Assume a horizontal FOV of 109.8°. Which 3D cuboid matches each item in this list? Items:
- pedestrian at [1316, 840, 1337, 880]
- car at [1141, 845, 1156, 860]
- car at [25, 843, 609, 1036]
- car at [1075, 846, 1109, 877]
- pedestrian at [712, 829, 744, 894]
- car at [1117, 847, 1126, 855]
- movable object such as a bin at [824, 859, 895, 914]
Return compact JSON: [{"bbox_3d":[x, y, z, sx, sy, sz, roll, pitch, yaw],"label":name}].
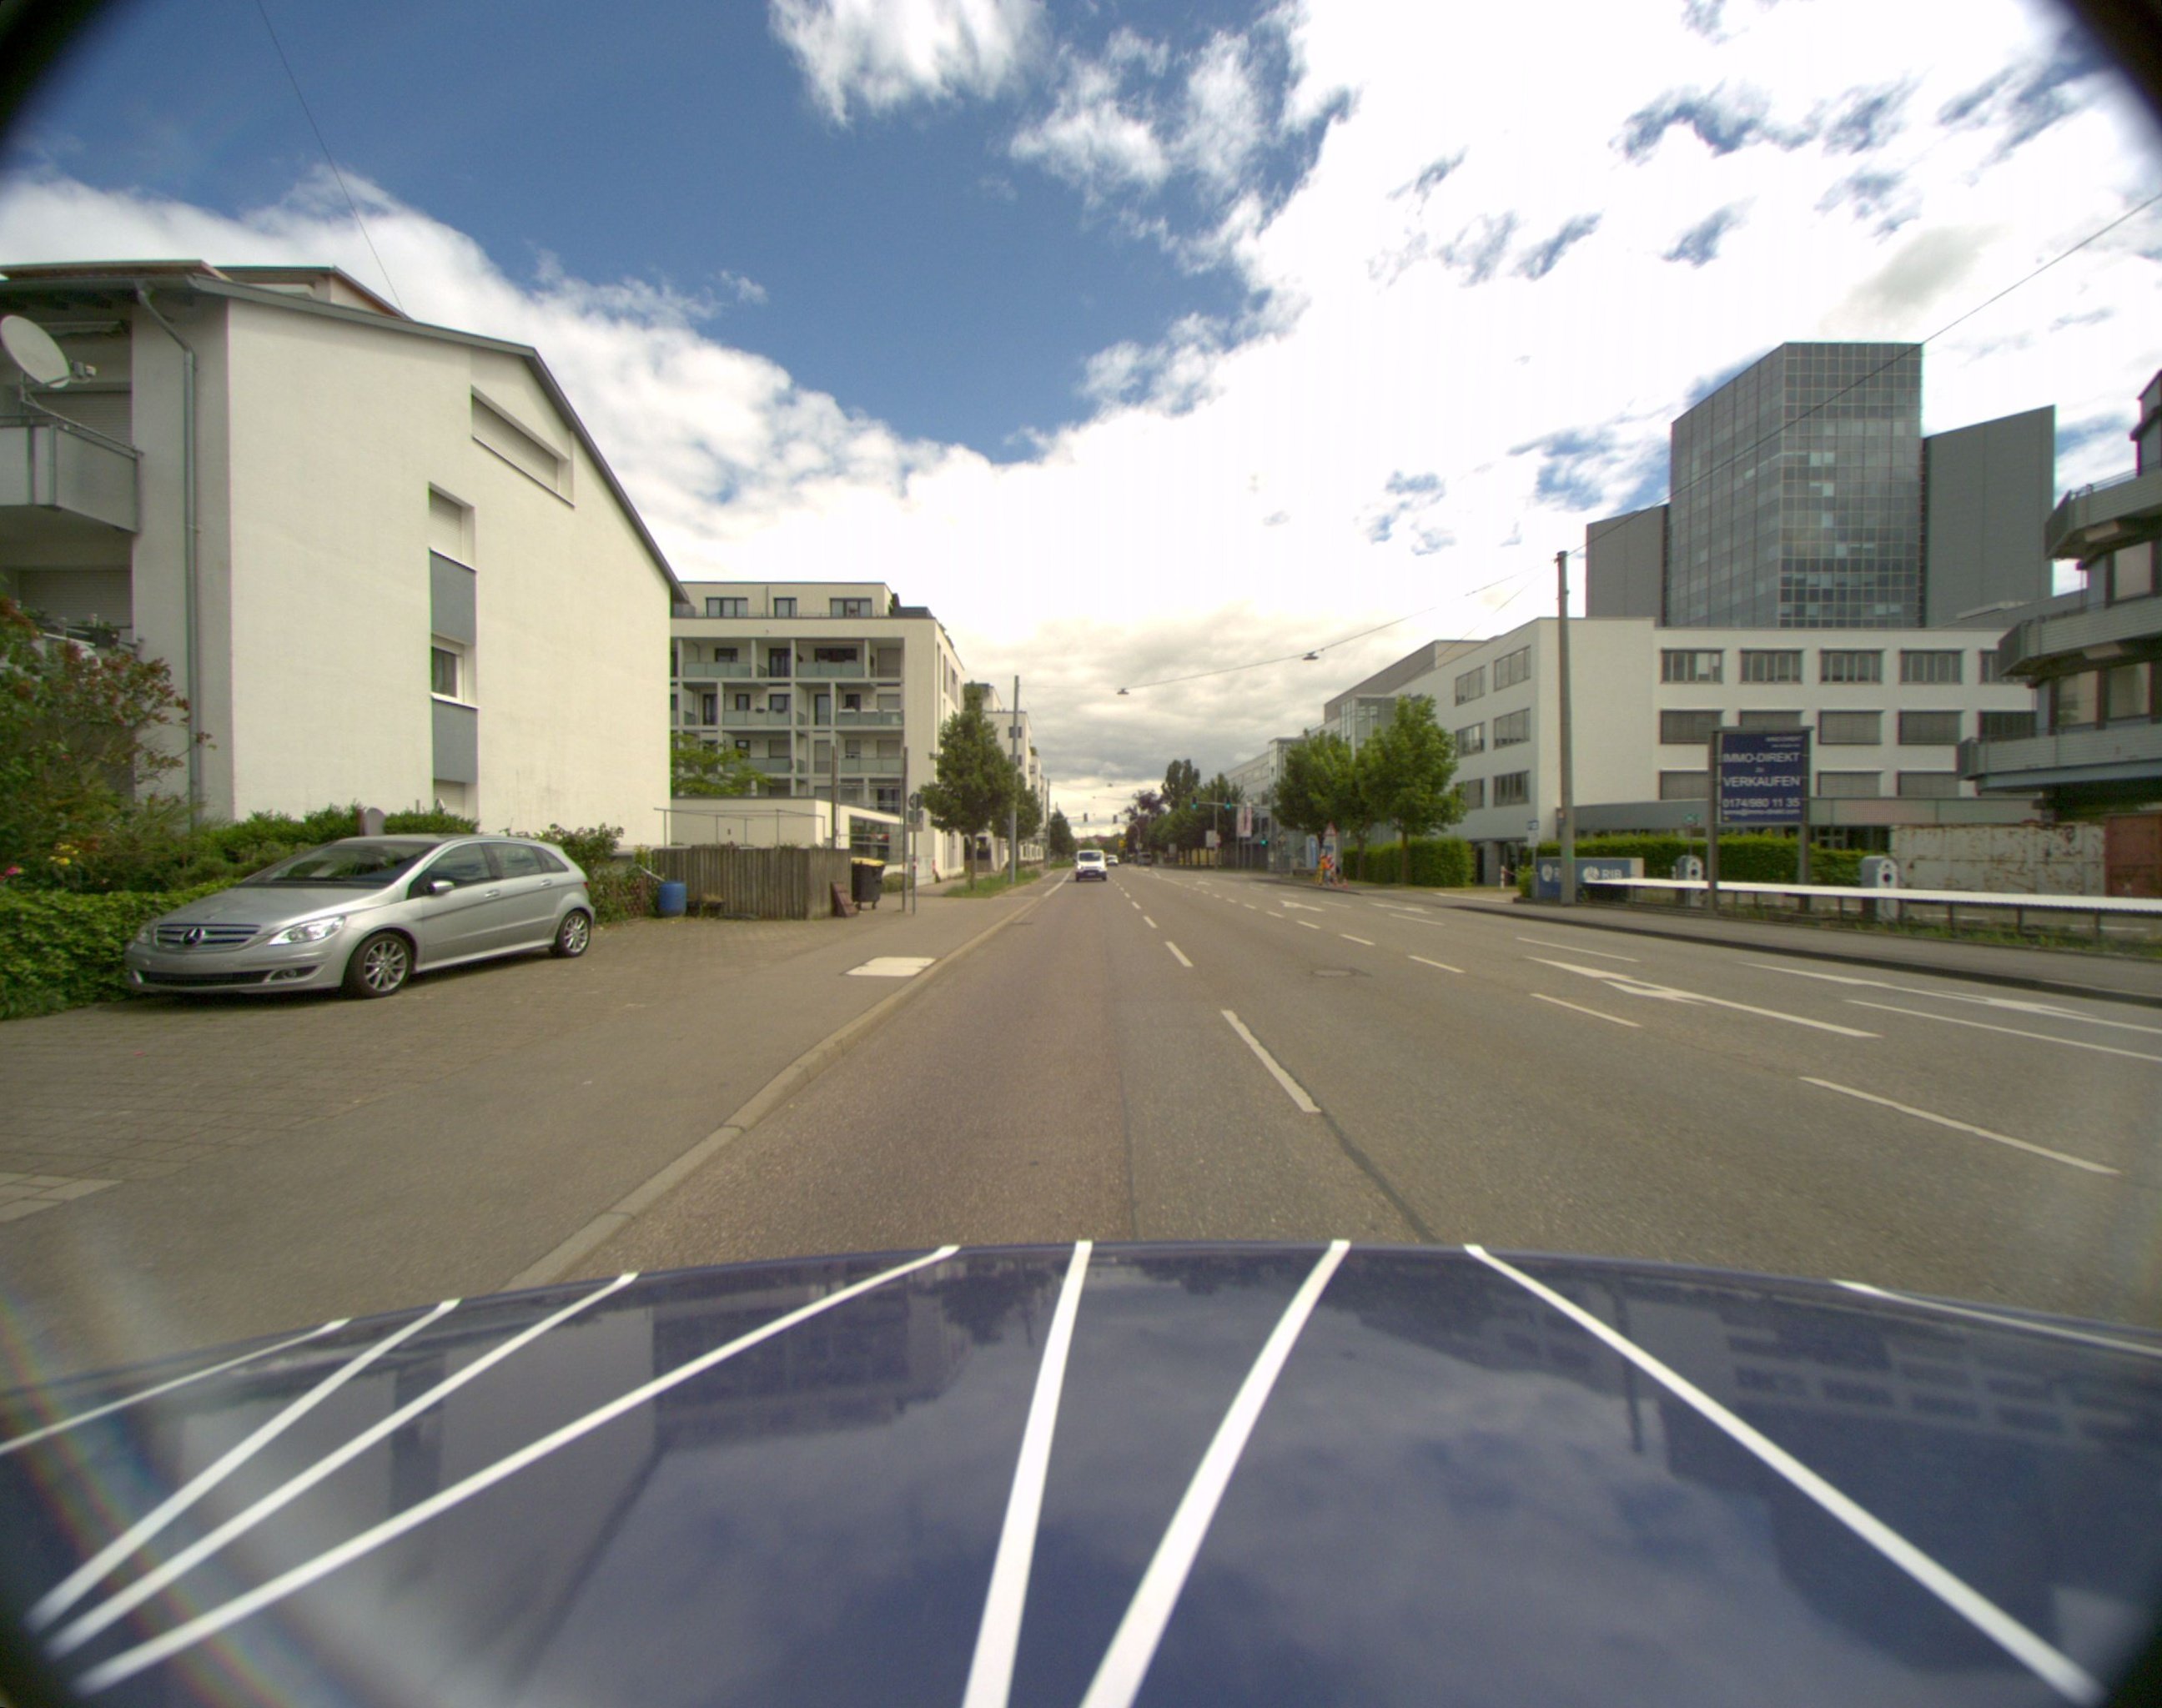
[{"bbox_3d":[12.791,0.315,39.616,0.724,2.002,0.812,-1,2,43],"label":"pedestrian"},{"bbox_3d":[12.112,-0.307,136.826,2.148,2.457,6.073,2,1,1],"label":"car"},{"bbox_3d":[-7.509,0.688,8.341,1.880,1.536,4.521,0,0,-1],"label":"car"},{"bbox_3d":[0.692,0.436,49.267,1.999,1.905,3.998,-1,1,-2],"label":"car"},{"bbox_3d":[-9.588,0.200,20.659,0.507,1.755,0.501,-2,2,17],"label":"pedestrian"},{"bbox_3d":[9.350,-0.685,175.085,1.889,1.543,4.540,1,1,3],"label":"car"},{"bbox_3d":[-5.846,0.831,20.149,1.320,1.353,1.252,0,2,17],"label":"movable object such as a bin"}]
